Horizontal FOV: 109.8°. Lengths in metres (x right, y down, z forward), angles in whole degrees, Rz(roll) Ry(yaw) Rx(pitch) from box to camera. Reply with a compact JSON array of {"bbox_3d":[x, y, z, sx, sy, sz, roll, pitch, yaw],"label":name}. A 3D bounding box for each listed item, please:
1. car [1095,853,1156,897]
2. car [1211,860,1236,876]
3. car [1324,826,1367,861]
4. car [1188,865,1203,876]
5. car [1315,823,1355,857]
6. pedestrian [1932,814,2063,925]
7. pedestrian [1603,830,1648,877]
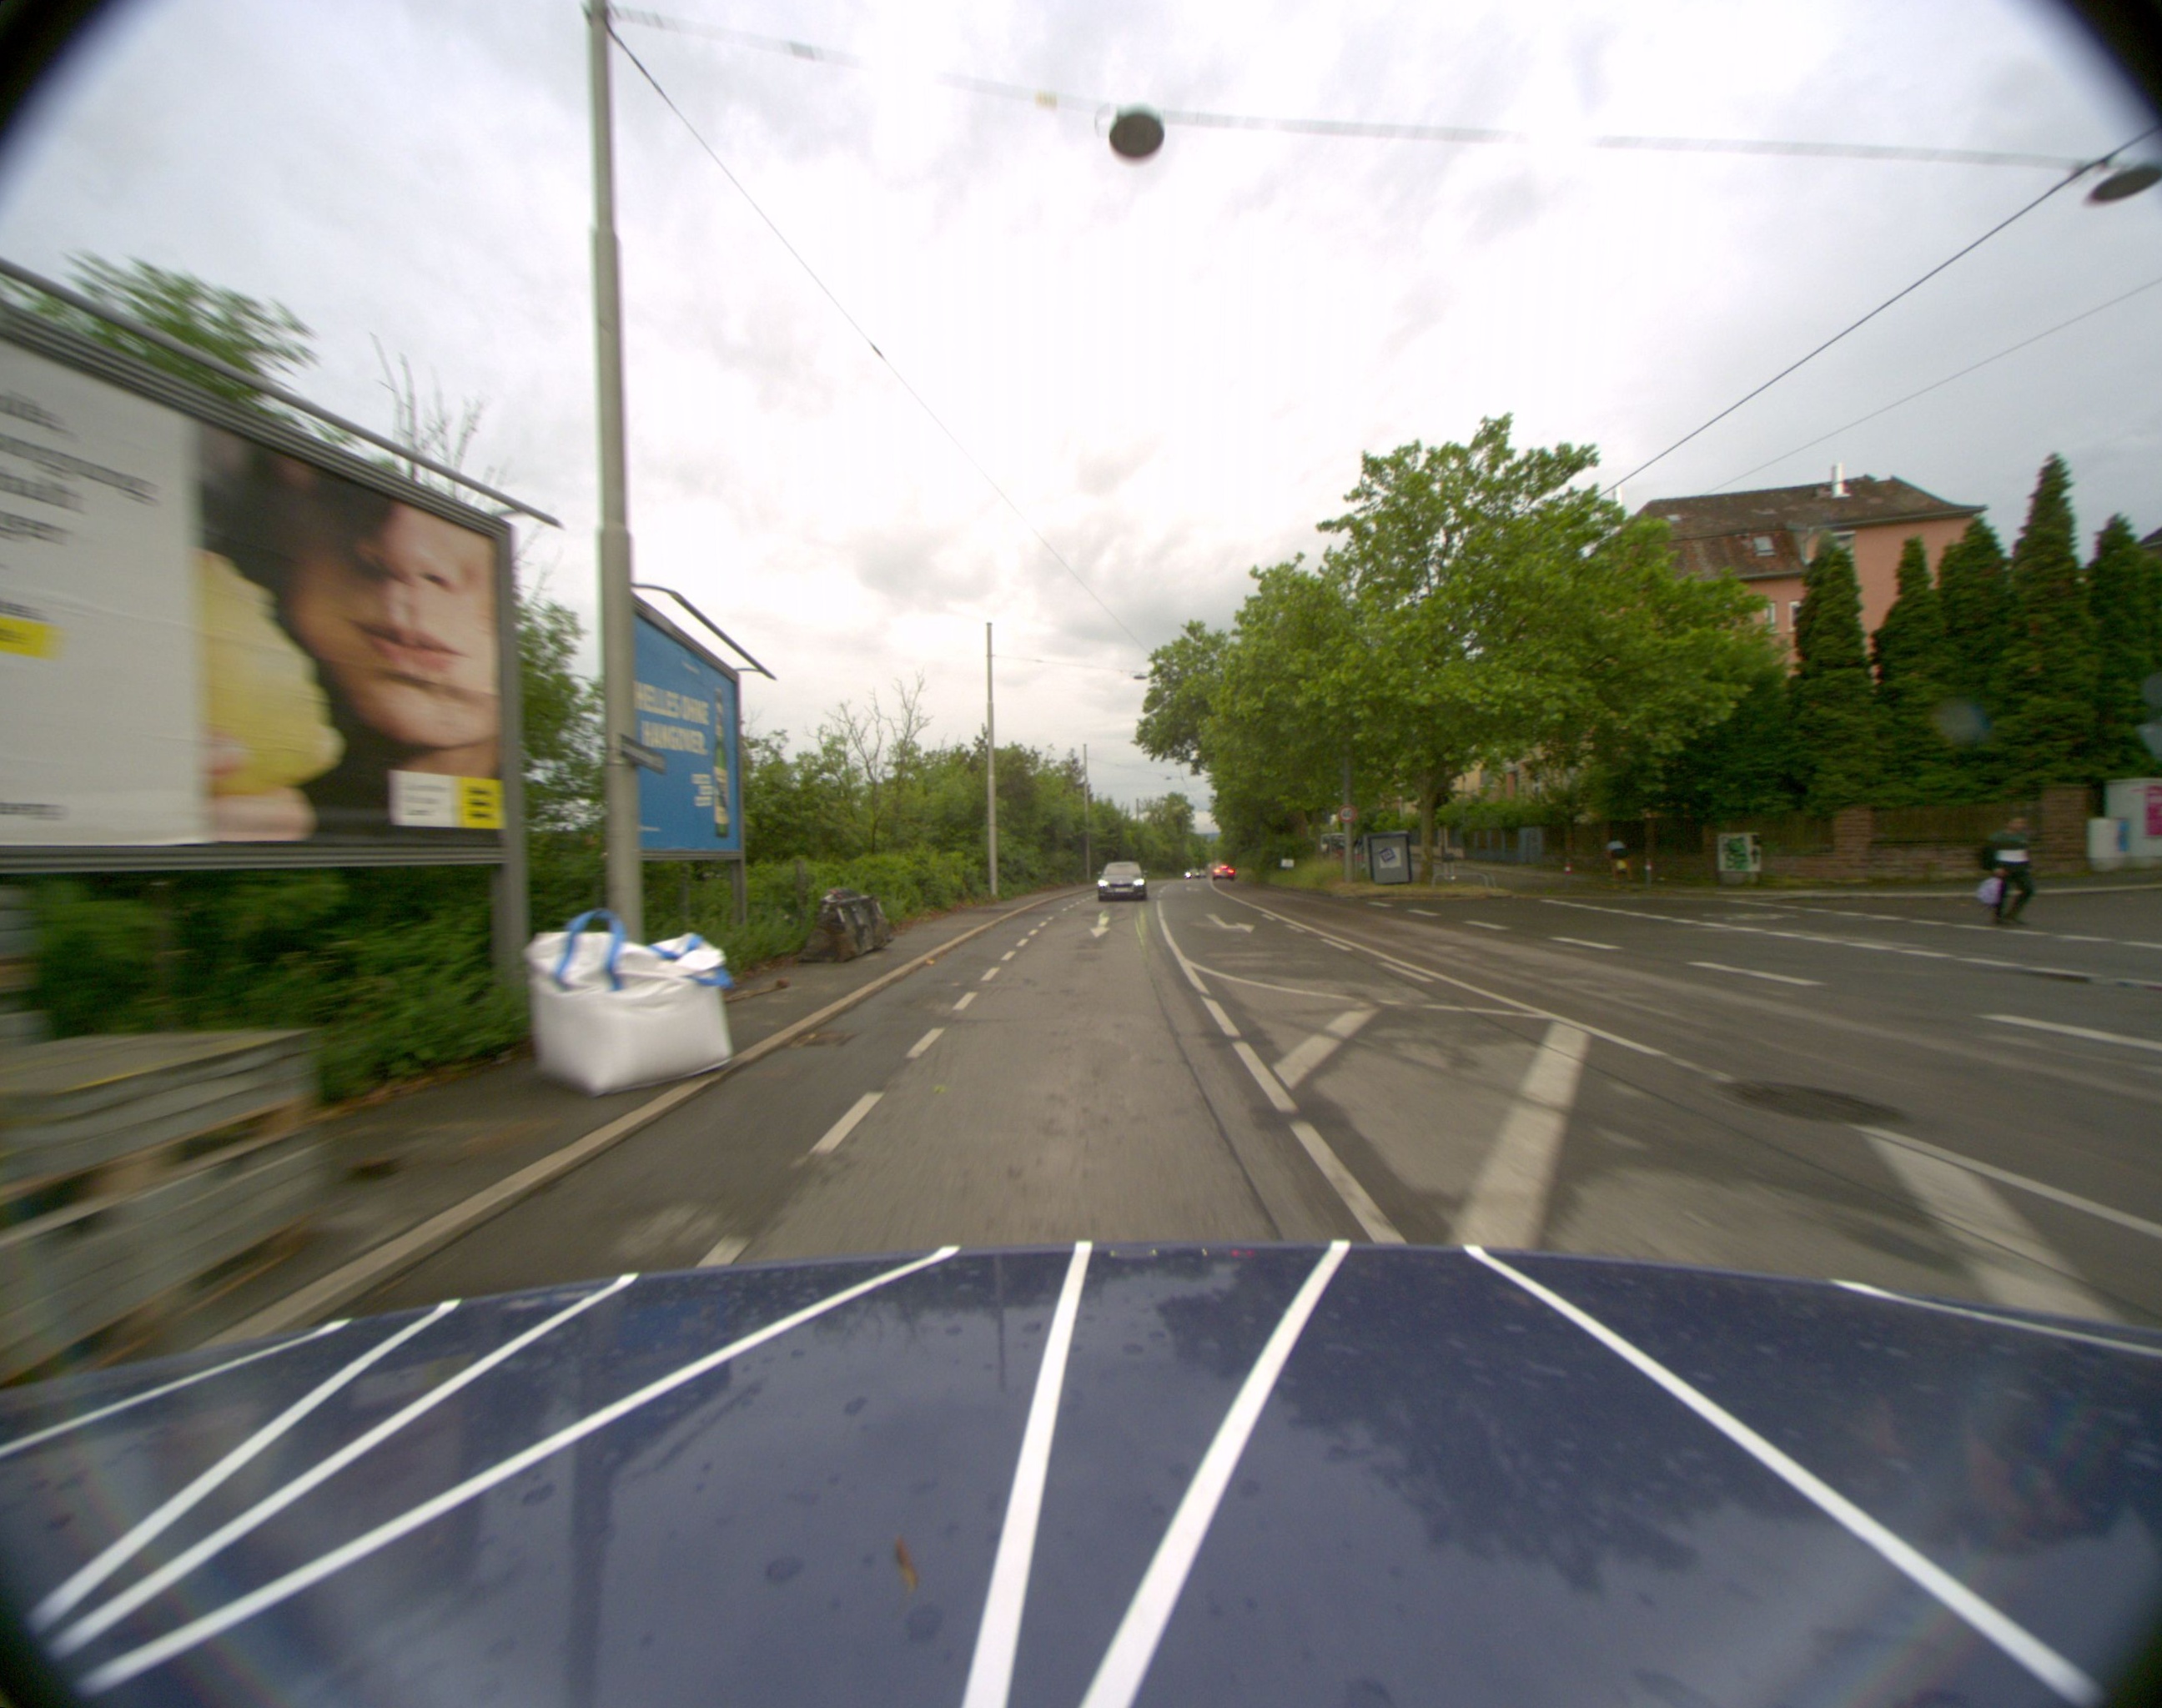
[{"bbox_3d":[1.788,0.810,29.260,1.980,1.496,4.003,-3,-1,7],"label":"car"},{"bbox_3d":[13.260,1.311,70.768,2.075,1.344,4.717,-3,-1,9],"label":"car"},{"bbox_3d":[15.542,-0.546,44.853,1.833,1.832,4.633,-3,-1,13],"label":"car"},{"bbox_3d":[15.783,2.245,104.660,1.997,1.433,4.003,-3,-1,8],"label":"car"},{"bbox_3d":[16.738,-0.873,50.242,1.997,2.001,4.633,-3,-1,13],"label":"car"},{"bbox_3d":[14.249,0.239,11.838,0.890,1.620,0.994,-2,-1,-20],"label":"pedestrian"},{"bbox_3d":[16.269,-0.015,22.739,0.792,1.346,0.792,-3,-1,13],"label":"pedestrian"}]
